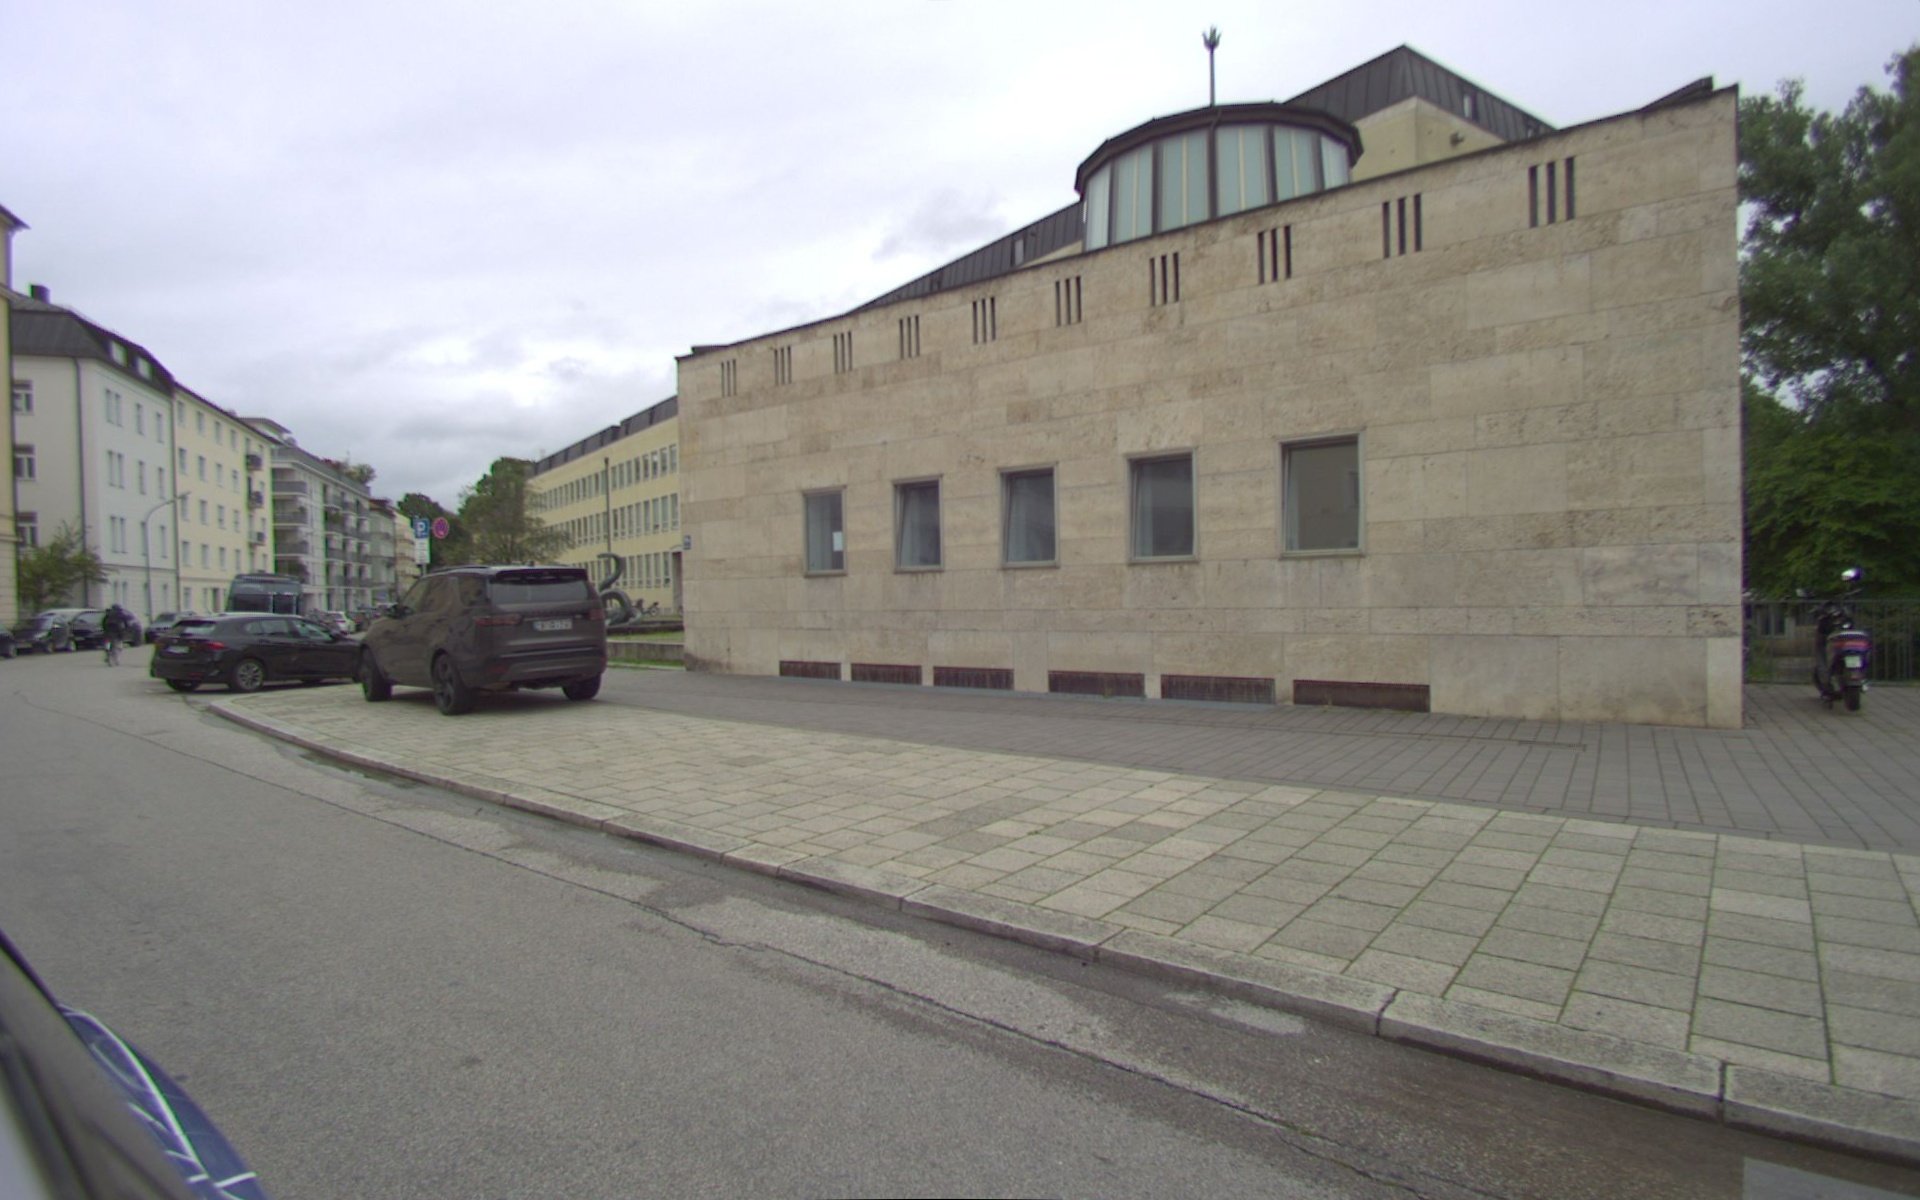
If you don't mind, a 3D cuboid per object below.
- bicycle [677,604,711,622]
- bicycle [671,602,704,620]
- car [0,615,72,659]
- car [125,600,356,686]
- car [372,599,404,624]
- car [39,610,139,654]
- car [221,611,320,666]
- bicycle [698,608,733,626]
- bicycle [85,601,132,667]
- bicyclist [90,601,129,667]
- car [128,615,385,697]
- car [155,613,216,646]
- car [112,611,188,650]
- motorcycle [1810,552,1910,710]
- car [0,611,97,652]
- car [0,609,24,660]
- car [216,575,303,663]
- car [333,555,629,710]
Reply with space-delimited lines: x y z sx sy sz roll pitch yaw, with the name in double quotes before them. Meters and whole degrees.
"bicycle" -15.777 0.765 60.038 1.877 0.923 0.439 -5 2 -38
"bicycle" -16.362 0.659 60.788 1.877 0.923 0.439 -5 2 -38
"car" -36.688 1.443 39.941 1.486 1.568 2.872 -4 2 -20
"car" -15.969 0.893 22.727 1.661 1.541 3.961 -3 2 18
"car" -47.449 0.915 84.014 1.916 1.991 4.370 0 0 -25
"car" -38.764 1.415 45.178 1.901 1.743 4.702 -4 0 -22
"car" -18.842 1.026 27.586 1.804 1.398 4.148 3 -2 -40
"bicycle" -13.958 0.964 57.854 1.877 0.923 0.439 -5 2 -38
"bicycle" -23.759 0.951 28.208 0.785 1.735 3.117 1 -3 -44
"bicyclist" -23.312 0.927 27.725 0.739 1.730 1.032 -1 -1 -44
"car" -13.609 1.030 19.879 1.733 1.384 3.987 -3 -1 15
"car" -43.415 1.616 56.796 1.753 1.602 3.714 -4 2 -22
"car" -41.098 1.507 51.445 1.753 1.742 4.404 -4 2 -22
"motorcycle" 8.883 0.262 10.028 0.514 1.415 1.551 -2 2 35
"car" -43.975 1.498 47.654 4.841 1.785 1.891 -1 1 -32
"car" -33.946 1.273 34.436 1.811 1.742 3.742 -4 2 -22
"car" -22.699 0.574 32.756 2.115 2.593 6.226 0 0 -36
"car" -6.776 0.402 14.039 4.813 1.785 1.972 -2 0 42
